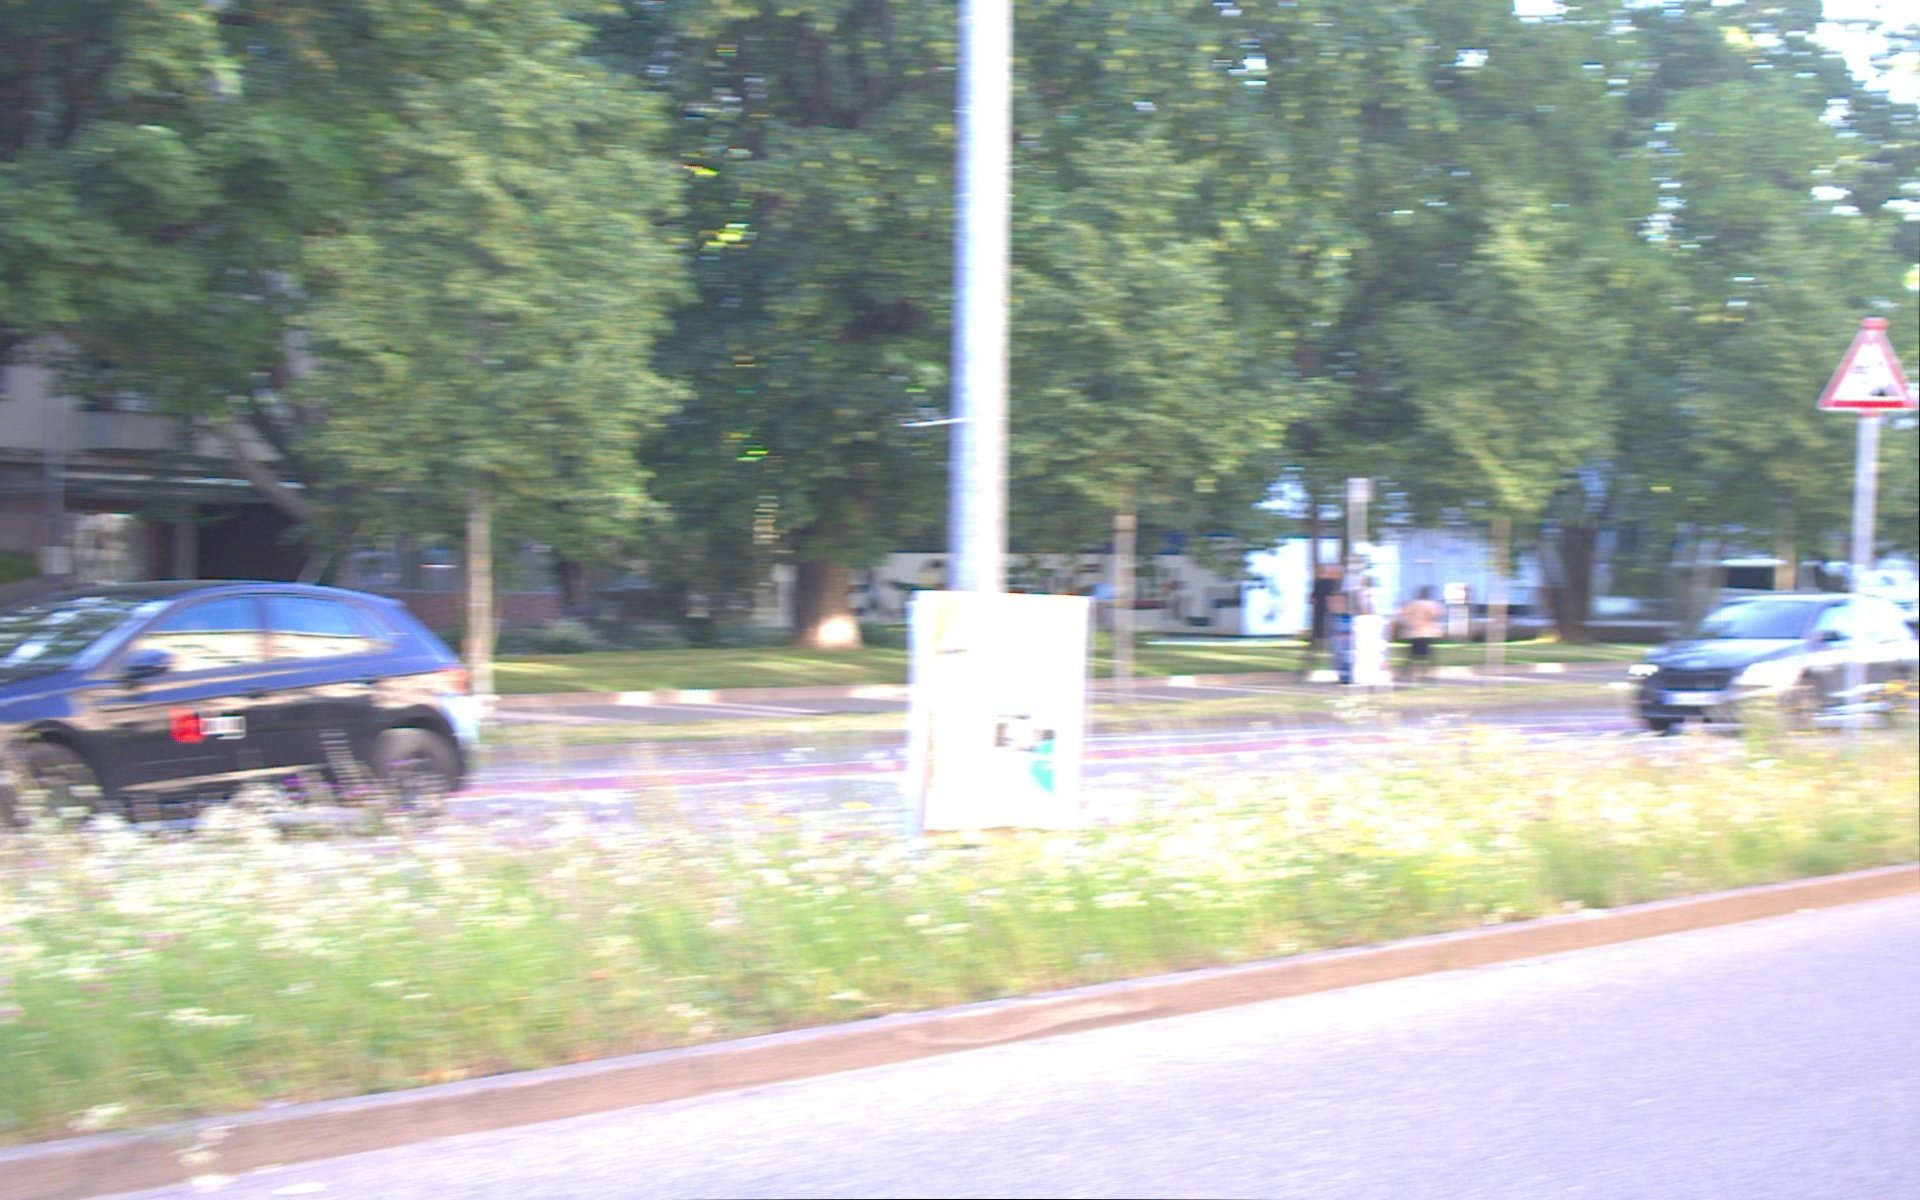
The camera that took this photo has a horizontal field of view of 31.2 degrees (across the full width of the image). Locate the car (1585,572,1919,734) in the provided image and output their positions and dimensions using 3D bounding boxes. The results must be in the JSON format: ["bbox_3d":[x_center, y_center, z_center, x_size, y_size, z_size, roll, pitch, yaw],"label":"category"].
[{"bbox_3d":[8.336,0.516,35.627,1.998,1.559,4.051,1,0,38],"label":"car"}]

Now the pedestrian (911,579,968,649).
[{"bbox_3d":[-0.454,0.309,76.260,0.903,1.535,0.893,1,0,31],"label":"pedestrian"}]

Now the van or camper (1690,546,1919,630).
[{"bbox_3d":[21.364,-0.289,85.987,5.676,2.007,2.252,0,-2,40],"label":"van or camper"}]

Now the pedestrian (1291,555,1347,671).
[{"bbox_3d":[5.386,0.191,51.589,0.525,1.734,0.653,1,0,42],"label":"pedestrian"}]

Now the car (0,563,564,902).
[{"bbox_3d":[-4.495,0.644,18.835,1.998,1.670,4.539,1,0,38],"label":"car"}]

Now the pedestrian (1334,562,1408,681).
[{"bbox_3d":[6.089,0.310,50.970,0.773,1.734,0.759,1,0,42],"label":"pedestrian"}]

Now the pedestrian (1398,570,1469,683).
[{"bbox_3d":[6.965,0.380,50.556,0.744,1.635,0.724,1,0,42],"label":"pedestrian"}]

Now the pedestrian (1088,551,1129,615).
[{"bbox_3d":[3.813,-0.432,88.378,0.726,1.635,0.743,1,0,44],"label":"pedestrian"}]
